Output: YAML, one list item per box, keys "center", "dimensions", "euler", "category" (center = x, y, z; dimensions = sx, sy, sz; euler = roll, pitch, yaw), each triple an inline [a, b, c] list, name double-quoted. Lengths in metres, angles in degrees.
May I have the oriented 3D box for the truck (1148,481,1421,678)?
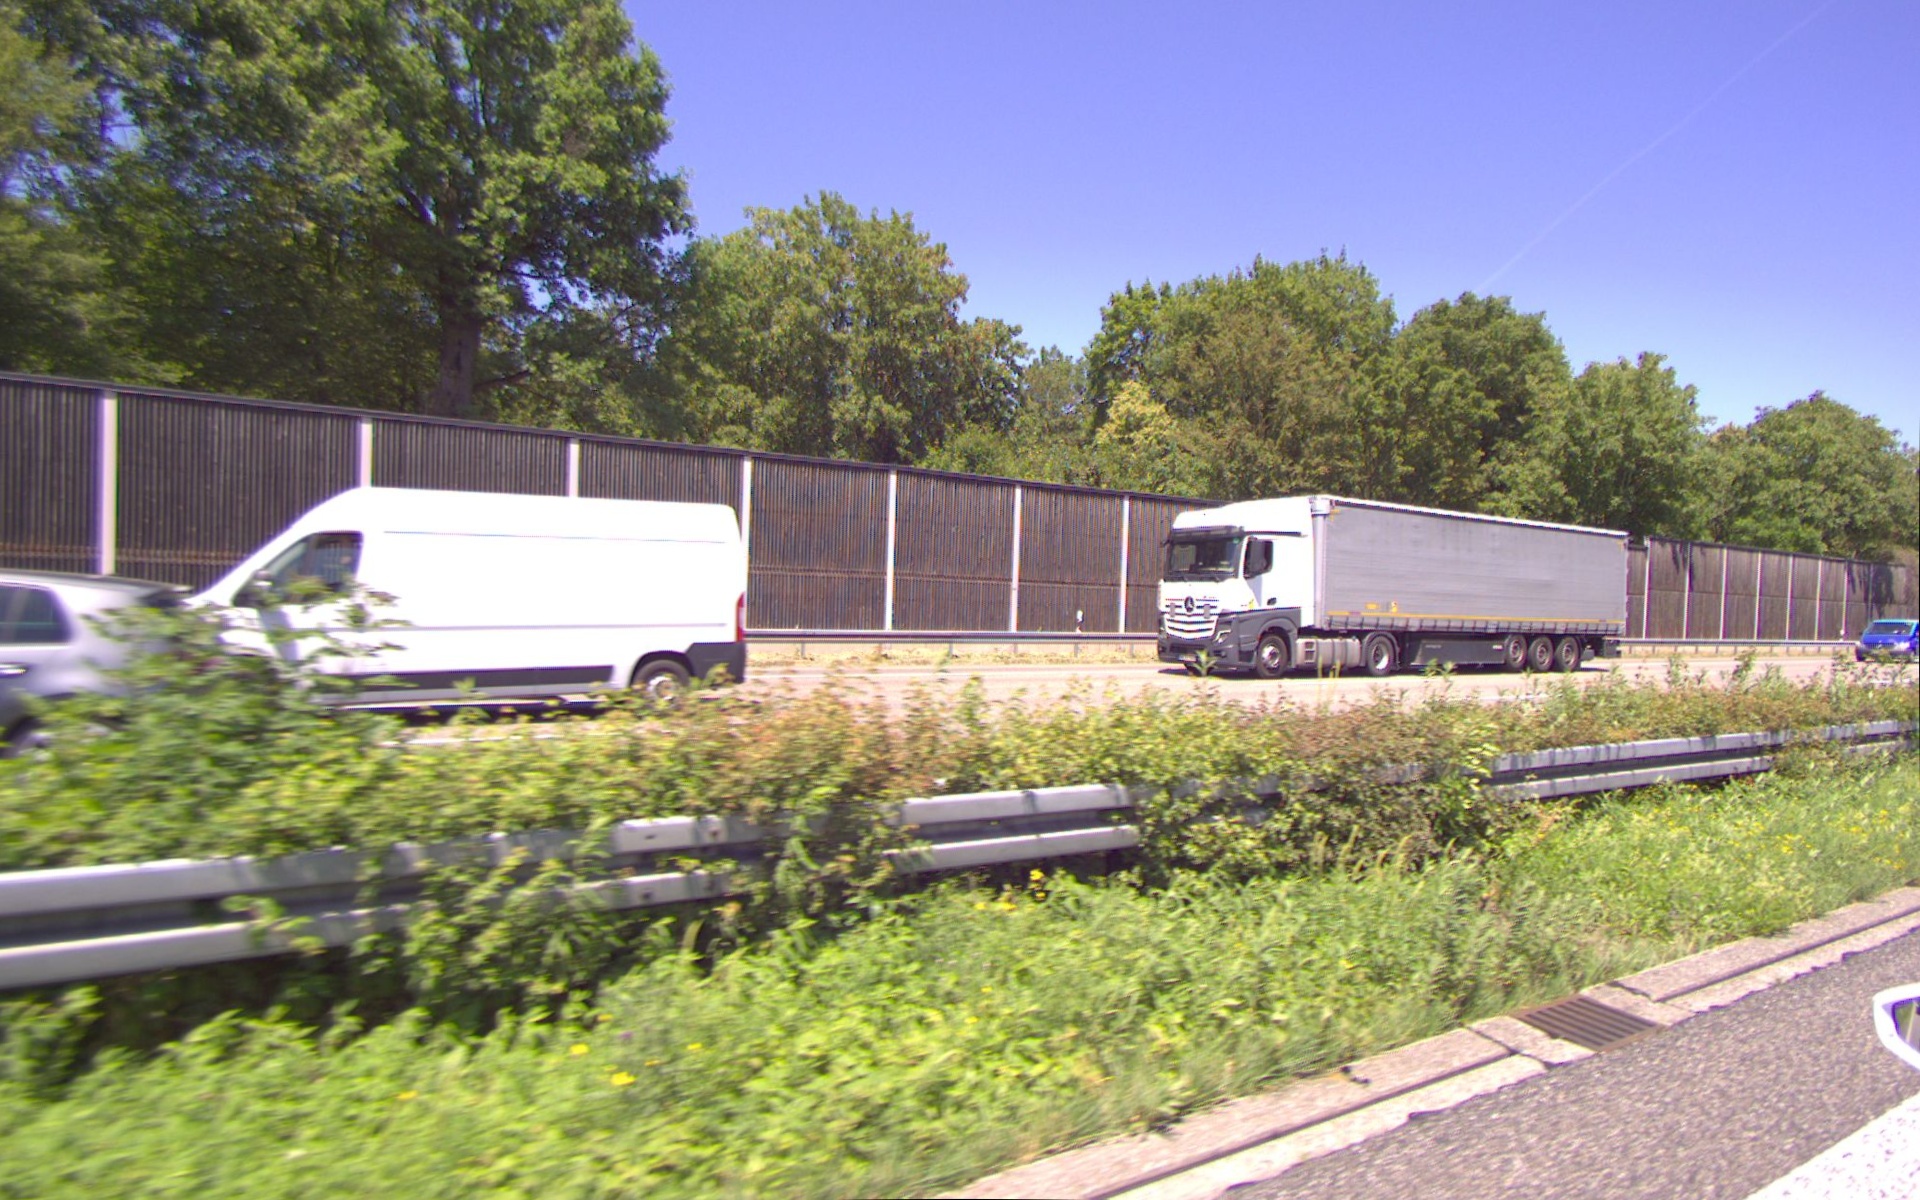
- center: [7.691, -0.356, 23.587]
  dimensions: [6.288, 4.109, 2.490]
  euler: [2, 0, -30]
  category: "truck"

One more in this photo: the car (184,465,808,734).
- center: [-4.940, 0.062, 11.515]
  dimensions: [5.972, 2.433, 2.070]
  euler: [2, 0, -31]
  category: "car"

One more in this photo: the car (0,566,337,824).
- center: [-6.178, 0.516, 6.185]
  dimensions: [3.890, 1.447, 1.751]
  euler: [2, 0, -31]
  category: "car"

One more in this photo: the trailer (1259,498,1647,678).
- center: [13.796, -0.113, 27.211]
  dimensions: [13.264, 4.088, 2.492]
  euler: [2, 0, -31]
  category: "trailer"

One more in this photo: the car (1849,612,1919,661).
- center: [41.070, 1.611, 44.213]
  dimensions: [3.955, 2.040, 1.792]
  euler: [2, 0, -31]
  category: "car"
